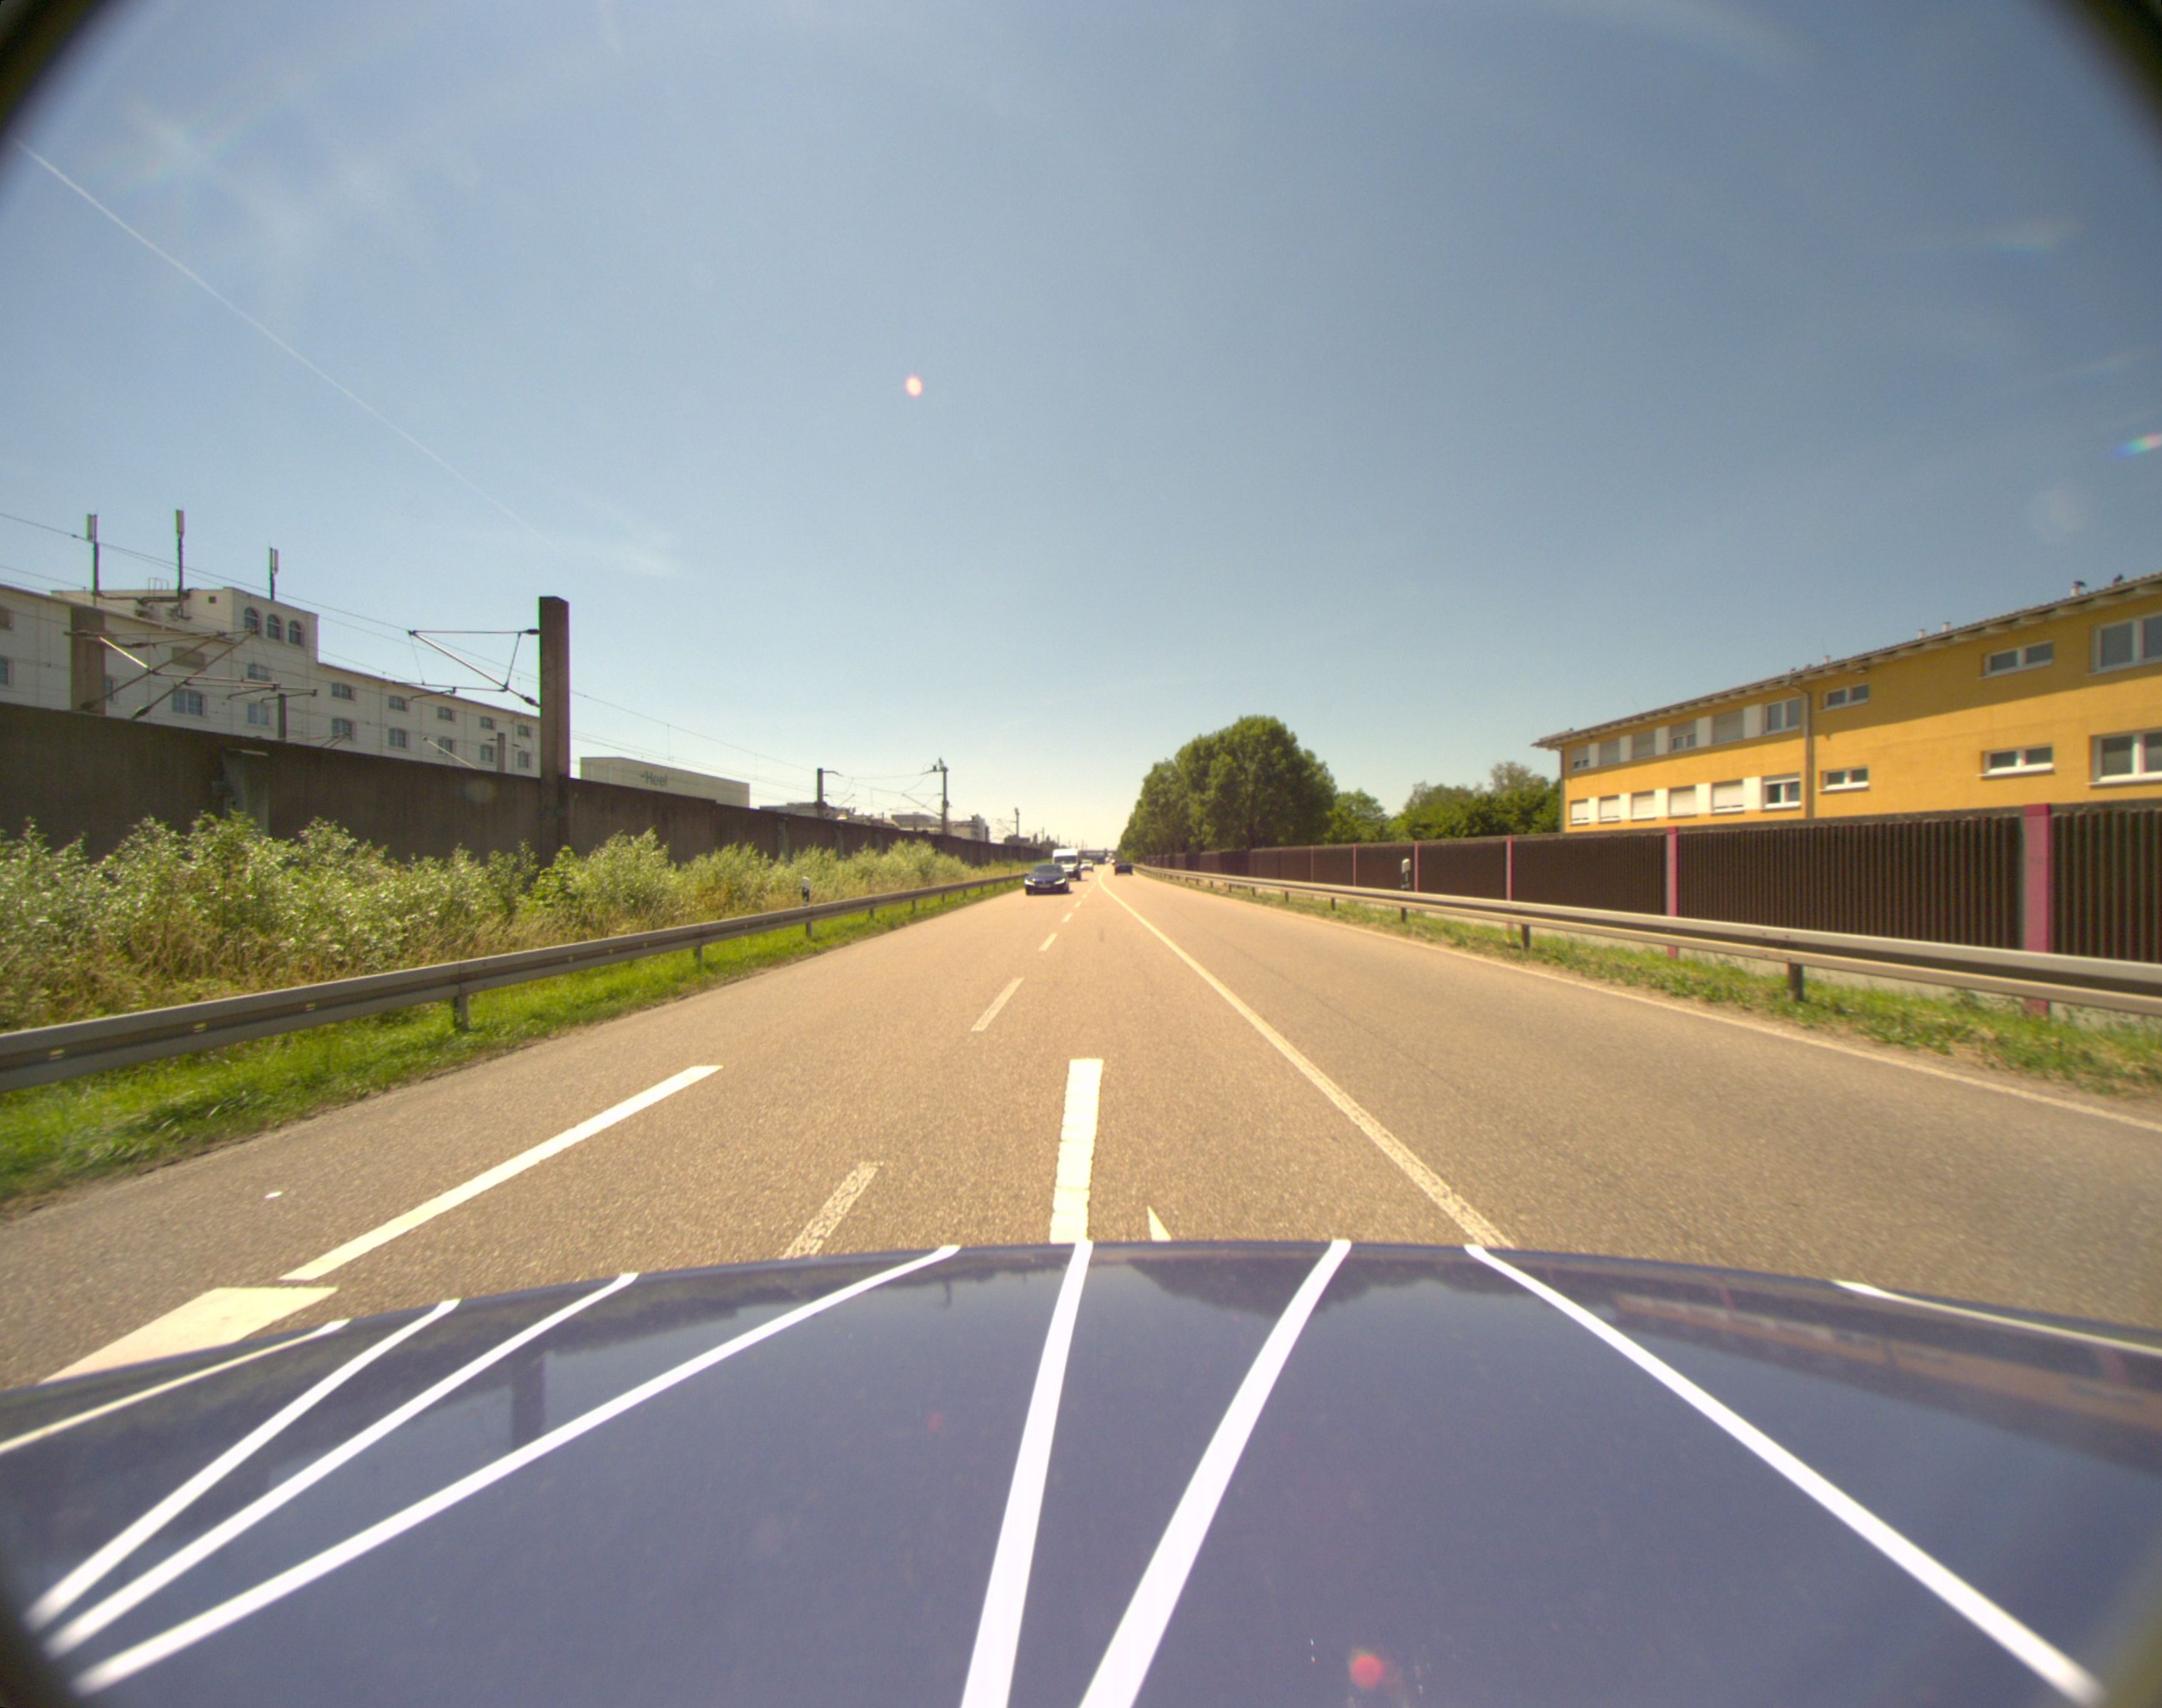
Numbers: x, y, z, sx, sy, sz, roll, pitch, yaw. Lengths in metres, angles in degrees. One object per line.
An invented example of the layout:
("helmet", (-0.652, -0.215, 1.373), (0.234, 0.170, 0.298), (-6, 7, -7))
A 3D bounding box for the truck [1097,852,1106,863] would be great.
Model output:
("truck", (6.093, 1.024, 227.342), (2.616, 3.024, 10.656), (-1, 0, 2))

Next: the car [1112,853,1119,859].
("car", (8.794, 0.431, 195.950), (1.757, 1.499, 4.530), (-2, 0, 2))

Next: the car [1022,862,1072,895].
("car", (-1.538, 1.121, 35.932), (1.861, 1.371, 4.504), (-2, 0, 3))

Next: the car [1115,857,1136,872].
("car", (4.384, 0.993, 75.380), (1.849, 1.382, 4.191), (-2, 0, 2))

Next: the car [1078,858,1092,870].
("car", (0.528, 1.280, 100.265), (1.822, 1.554, 4.278), (-2, 0, 0))

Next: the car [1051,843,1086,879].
("car", (-0.901, 0.501, 59.260), (2.193, 2.588, 6.751), (-2, 0, 2))
